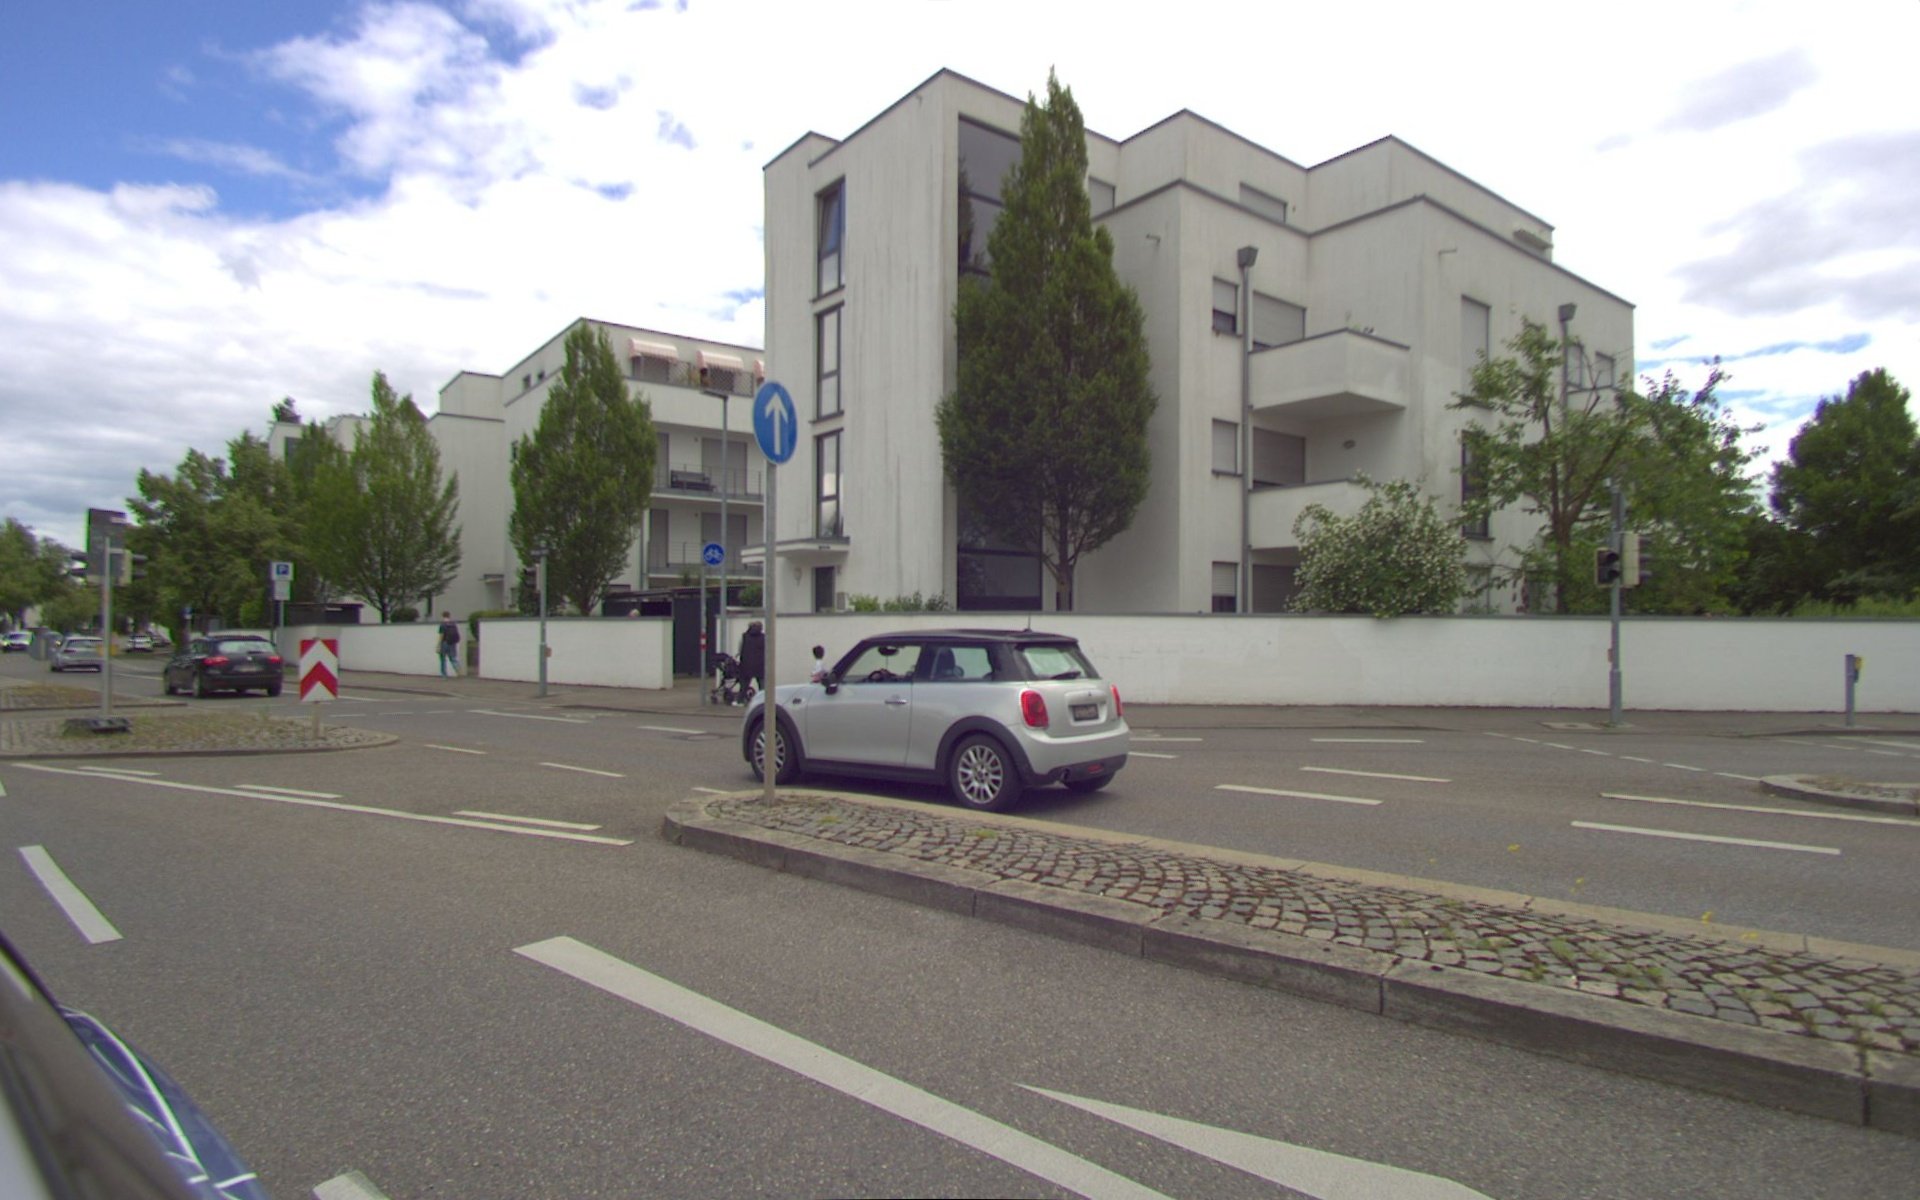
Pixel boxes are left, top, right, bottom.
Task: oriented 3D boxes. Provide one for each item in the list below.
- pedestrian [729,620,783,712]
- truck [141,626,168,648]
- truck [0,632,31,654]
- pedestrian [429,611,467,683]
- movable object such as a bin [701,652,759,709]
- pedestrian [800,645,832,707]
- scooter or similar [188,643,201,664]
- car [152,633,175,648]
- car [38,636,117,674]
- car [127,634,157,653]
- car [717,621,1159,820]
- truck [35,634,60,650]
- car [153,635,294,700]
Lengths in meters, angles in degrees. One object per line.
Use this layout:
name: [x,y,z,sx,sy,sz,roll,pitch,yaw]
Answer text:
pedestrian: [-3.630,1.162,18.013,0.731,1.554,0.526,-2,2,39]
truck: [-105.558,4.796,132.672,2.601,2.794,6.270,1,-2,-38]
truck: [-78.971,3.578,84.570,1.590,1.804,4.007,2,-3,-39]
pedestrian: [-14.338,1.297,28.350,0.871,1.962,0.641,-1,0,42]
movable object such as a bin: [-4.215,1.461,18.551,0.985,0.967,0.492,-2,2,39]
pedestrian: [-2.582,1.361,18.152,0.444,1.070,0.322,-2,0,40]
scooter or similar: [-44.296,3.102,58.571,0.428,1.175,1.328,-2,0,-42]
car: [-88.884,4.480,112.927,1.860,1.628,4.009,2,-3,-36]
car: [-36.153,2.226,41.433,3.945,1.455,1.780,-1,-3,40]
car: [-73.064,3.898,90.448,1.887,1.665,4.009,2,-3,-36]
car: [-0.309,0.922,9.081,3.814,1.420,1.627,-1,-3,38]
truck: [-93.543,4.304,103.754,1.594,1.671,4.007,2,-3,-39]
car: [-17.478,1.552,23.957,3.913,1.402,1.703,-1,-4,39]
